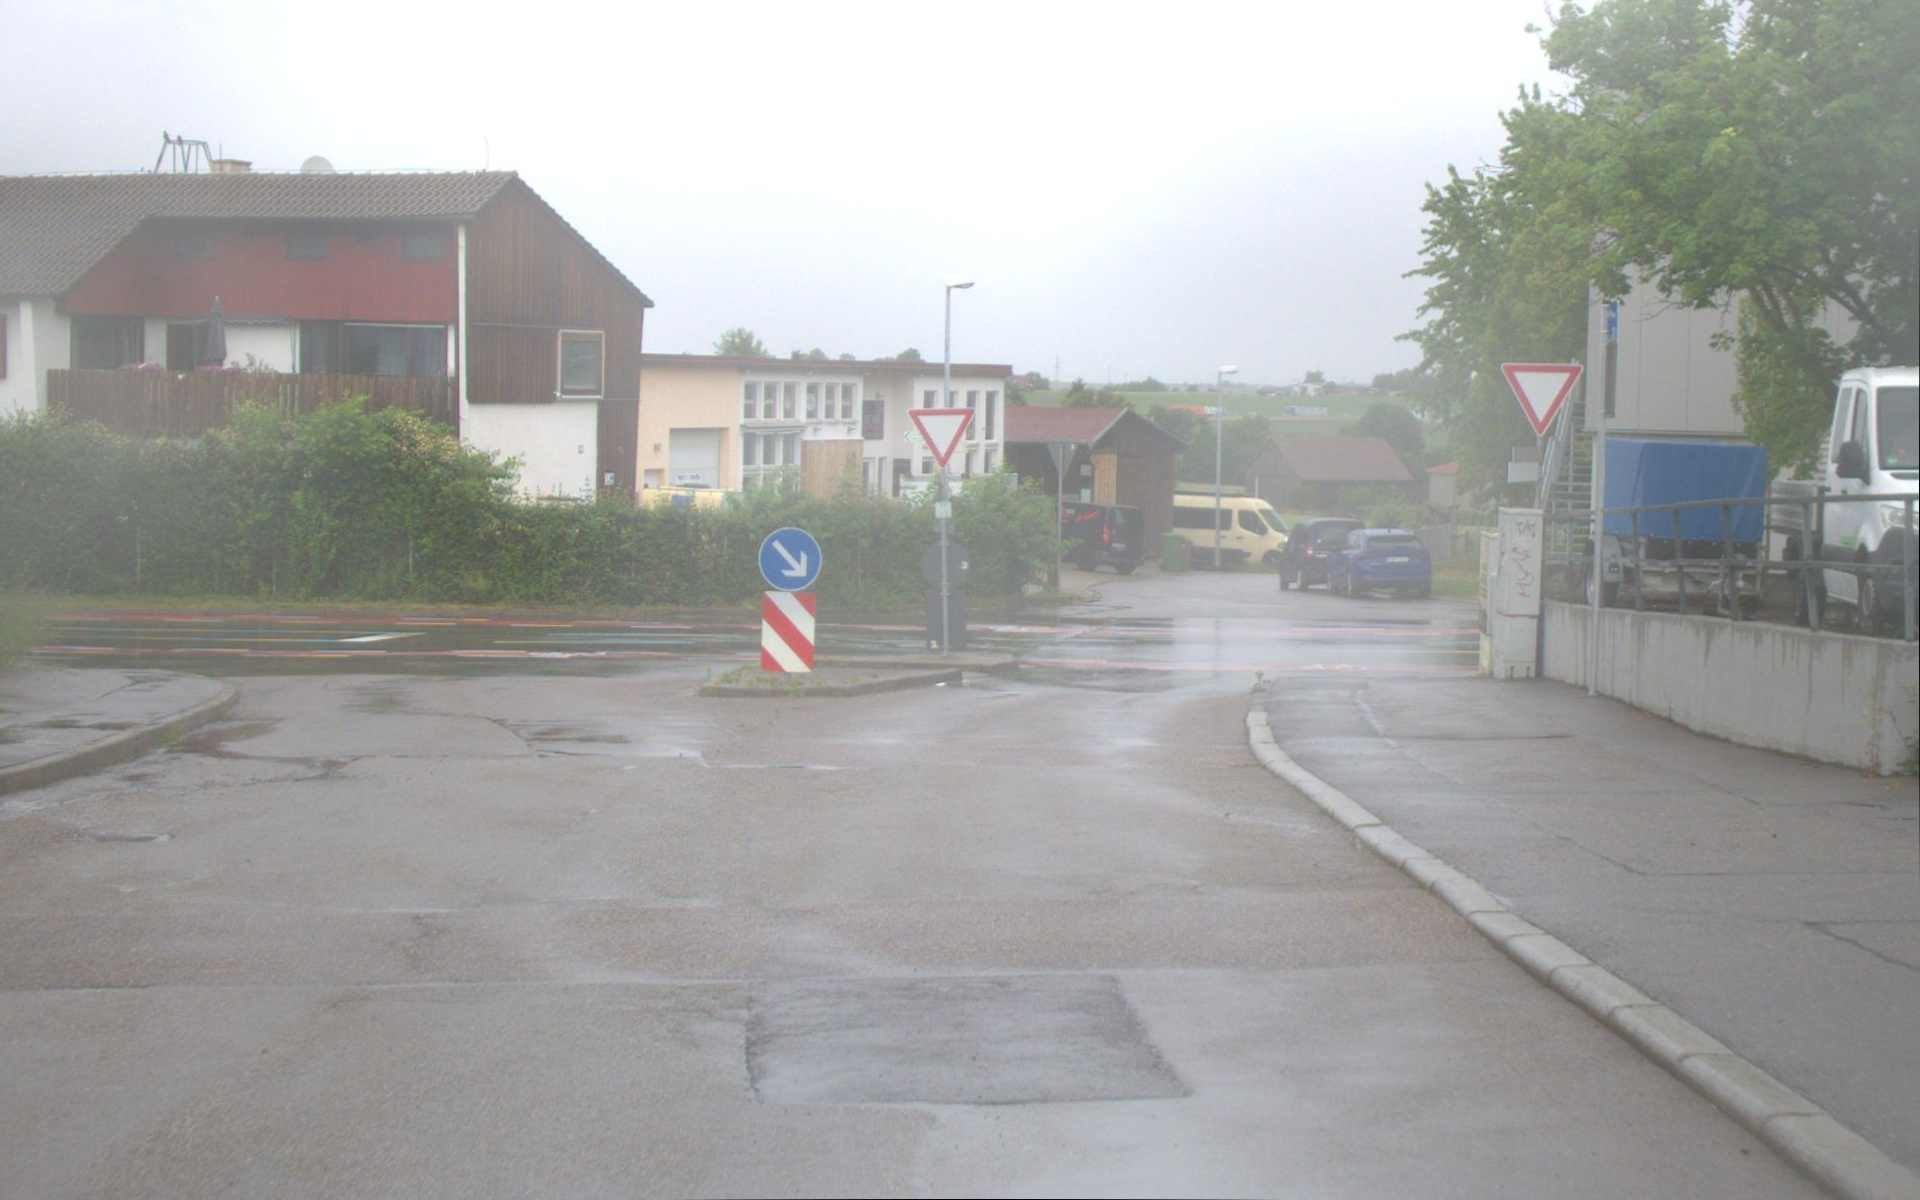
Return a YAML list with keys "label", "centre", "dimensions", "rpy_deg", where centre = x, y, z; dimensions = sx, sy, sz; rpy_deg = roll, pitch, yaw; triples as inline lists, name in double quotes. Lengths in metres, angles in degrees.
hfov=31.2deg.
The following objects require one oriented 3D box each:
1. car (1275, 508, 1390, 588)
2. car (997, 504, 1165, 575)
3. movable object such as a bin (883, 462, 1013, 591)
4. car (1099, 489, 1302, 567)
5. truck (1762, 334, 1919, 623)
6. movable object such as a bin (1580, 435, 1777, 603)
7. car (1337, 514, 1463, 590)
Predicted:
- label: "car"
  centre: [8.793, -1.234, 81.493]
  dimensions: [2.074, 1.828, 4.471]
  rpy_deg: [1, 1, -2]
- label: "car"
  centre: [3.271, -1.655, 93.586]
  dimensions: [1.995, 1.898, 4.407]
  rpy_deg: [0, 1, -45]
- label: "movable object such as a bin"
  centre: [-0.220, -1.496, 70.317]
  dimensions: [1.734, 2.548, 3.337]
  rpy_deg: [1, 1, 17]
- label: "car"
  centre: [7.751, -2.320, 110.650]
  dimensions: [6.016, 2.406, 2.460]
  rpy_deg: [1, 1, 23]
- label: "truck"
  centre: [8.305, -0.964, 29.075]
  dimensions: [2.106, 2.206, 5.652]
  rpy_deg: [1, 1, 5]
- label: "movable object such as a bin"
  centre: [6.615, -0.742, 31.778]
  dimensions: [1.306, 1.495, 1.859]
  rpy_deg: [1, 1, -4]
- label: "car"
  centre: [9.596, -1.057, 75.245]
  dimensions: [1.951, 1.604, 4.447]
  rpy_deg: [1, 1, -3]
